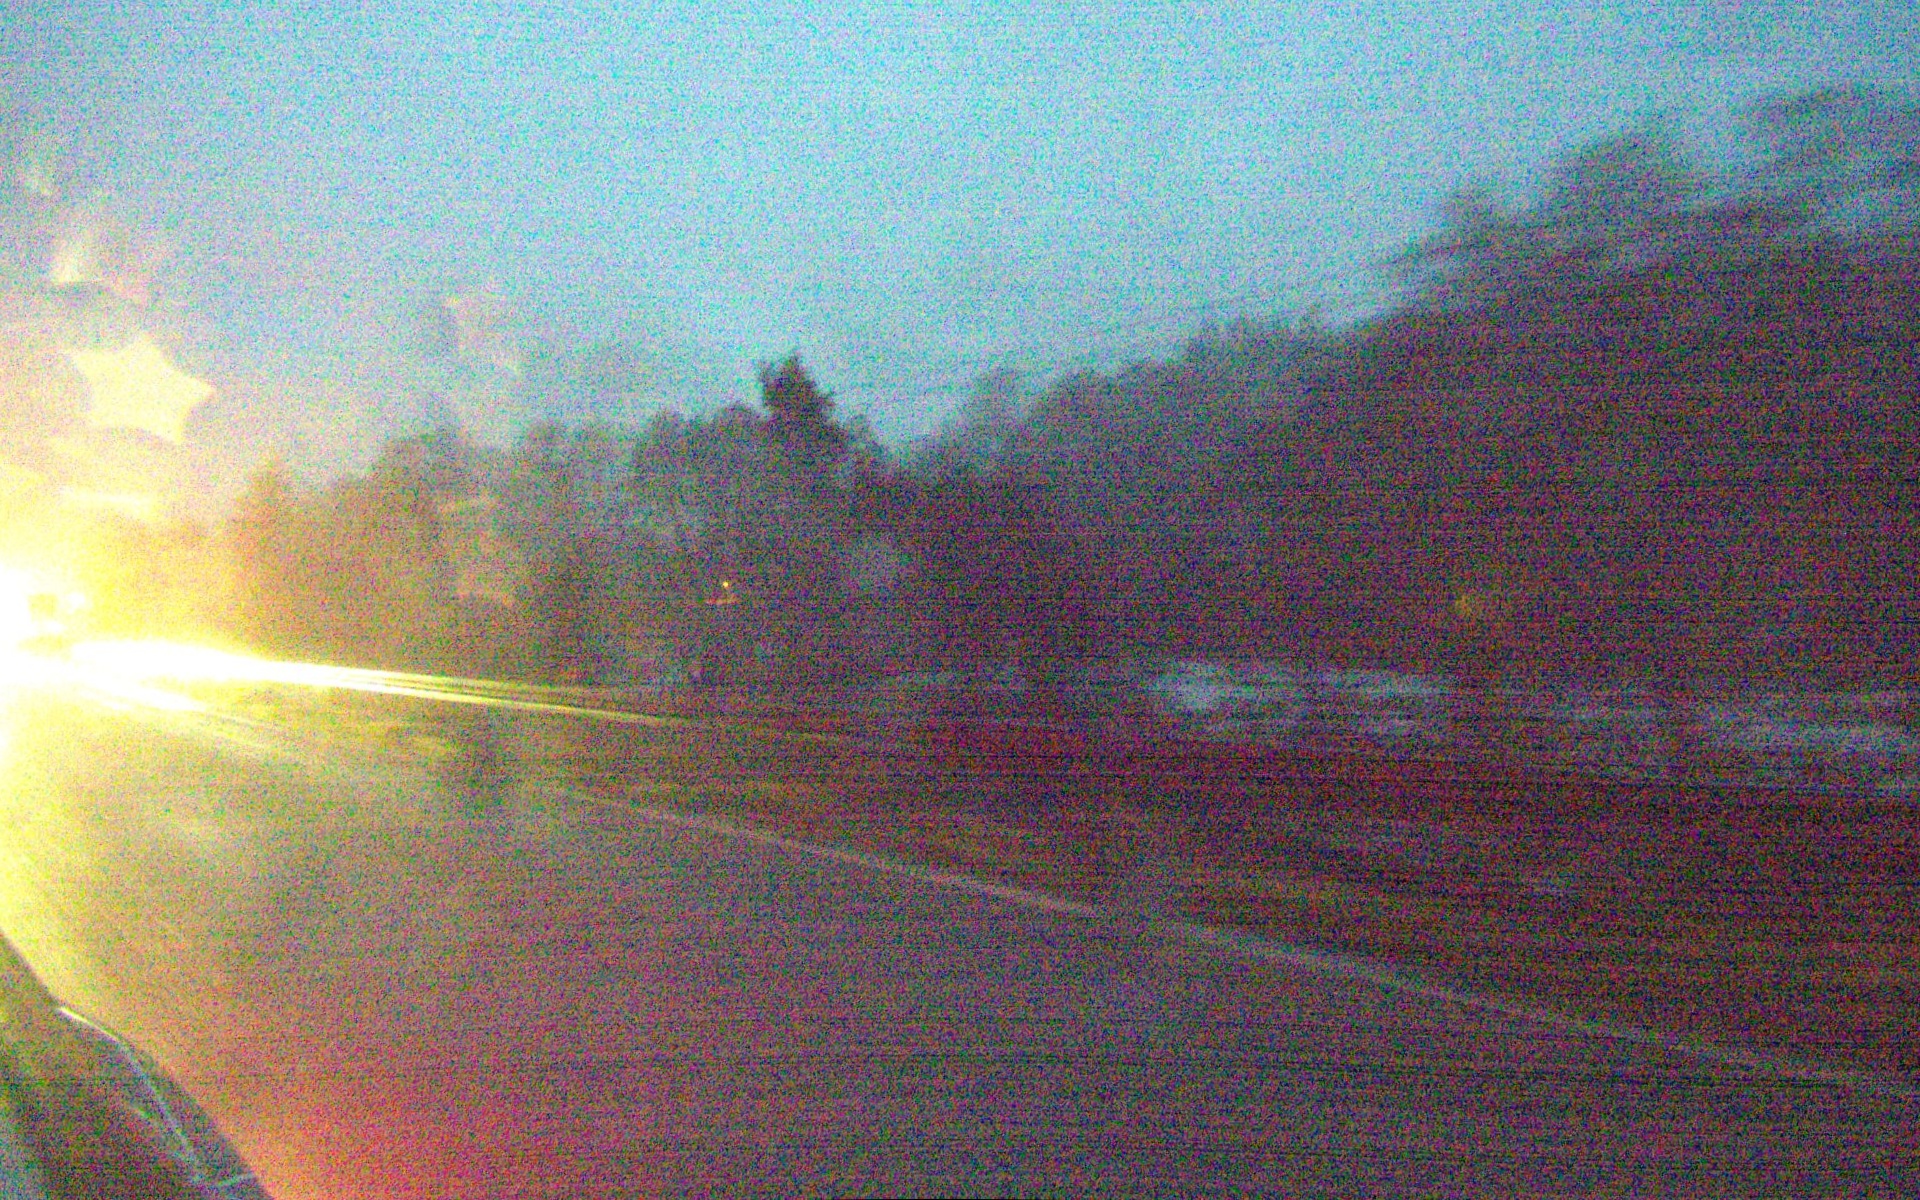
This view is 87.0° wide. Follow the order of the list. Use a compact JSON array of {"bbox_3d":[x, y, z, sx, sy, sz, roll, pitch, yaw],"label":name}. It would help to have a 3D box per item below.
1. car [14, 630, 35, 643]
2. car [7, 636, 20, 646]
[{"bbox_3d":[-117.749,4.608,127.344,1.809,1.566,4.445,-2,-1,-44],"label":"car"},{"bbox_3d":[-168.852,7.339,180.529,1.764,1.645,4.430,-1,-1,-43],"label":"car"}]
